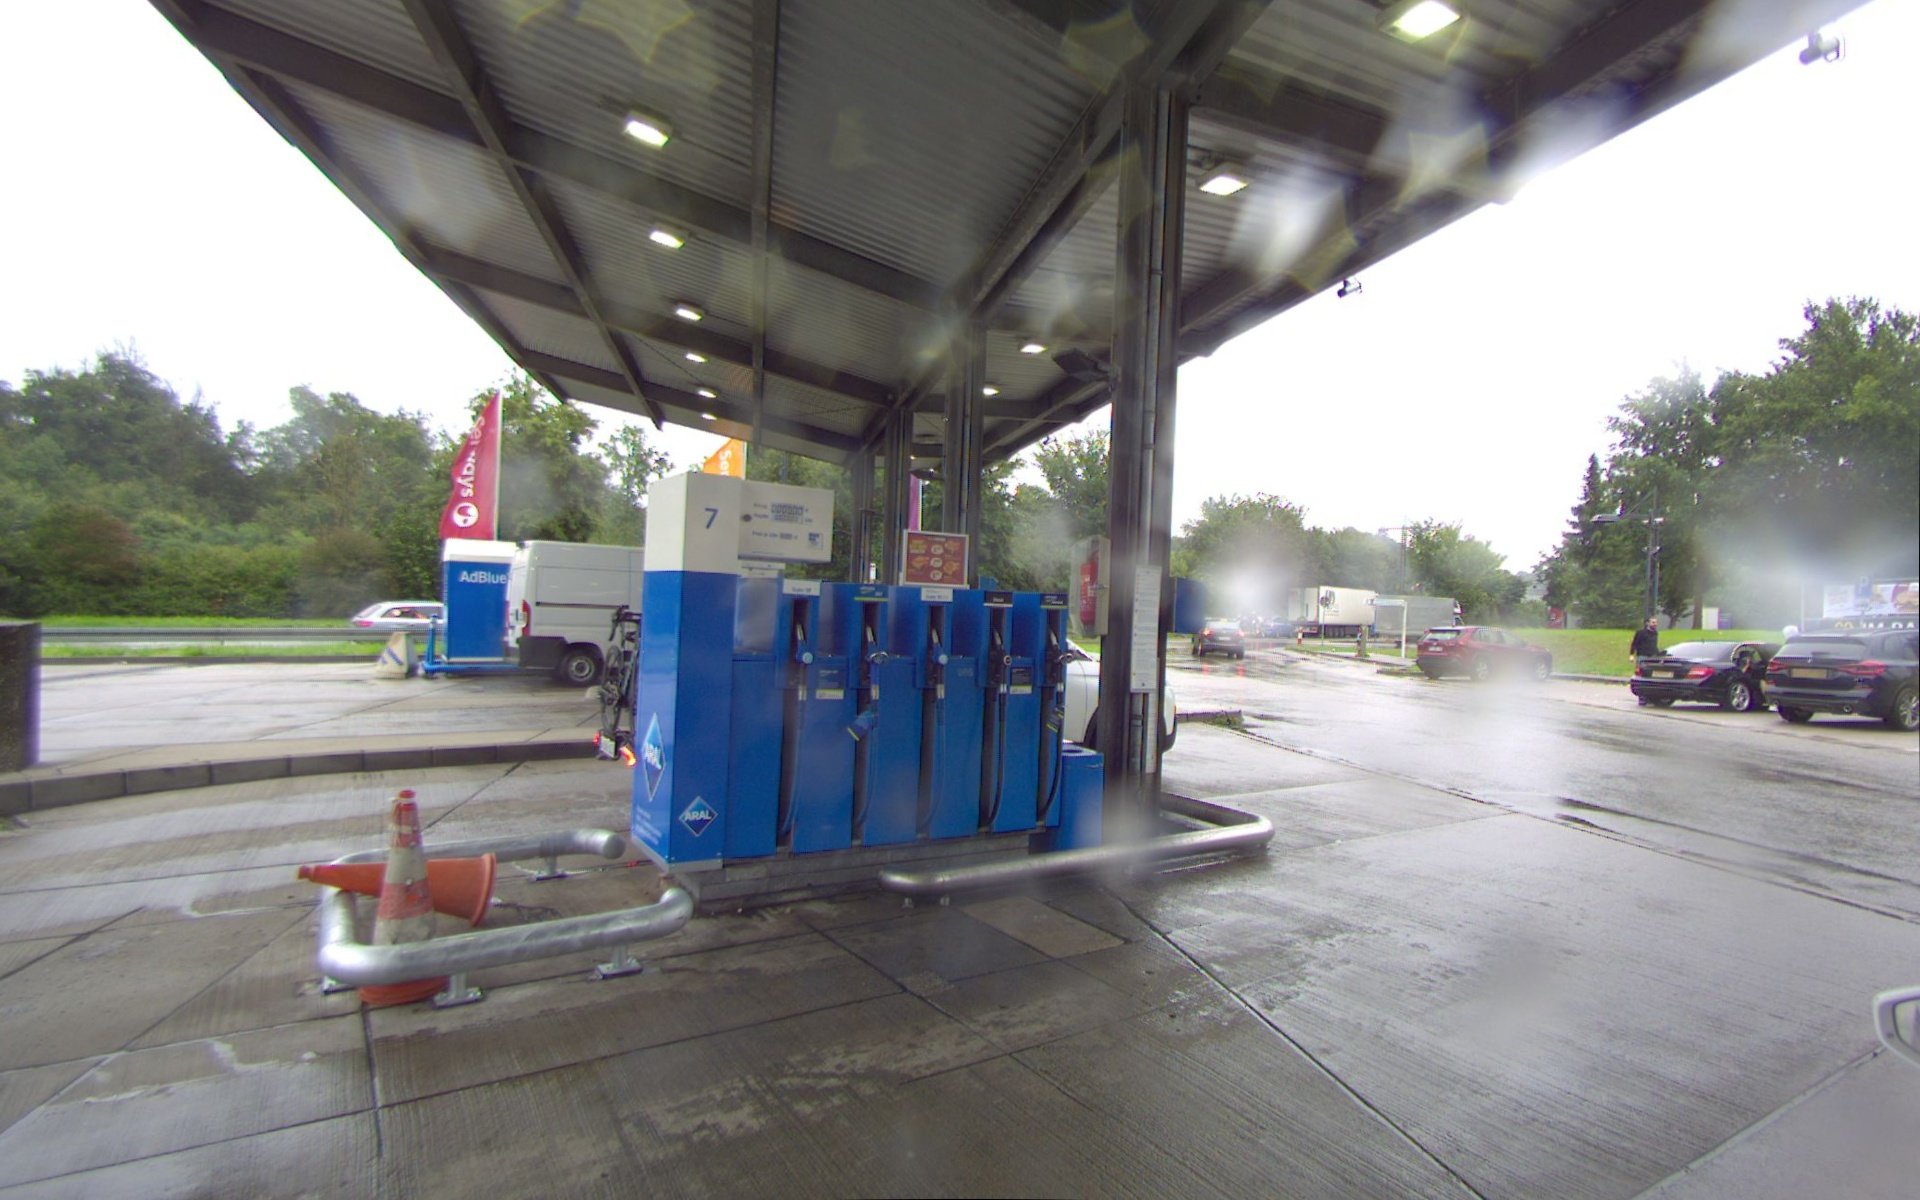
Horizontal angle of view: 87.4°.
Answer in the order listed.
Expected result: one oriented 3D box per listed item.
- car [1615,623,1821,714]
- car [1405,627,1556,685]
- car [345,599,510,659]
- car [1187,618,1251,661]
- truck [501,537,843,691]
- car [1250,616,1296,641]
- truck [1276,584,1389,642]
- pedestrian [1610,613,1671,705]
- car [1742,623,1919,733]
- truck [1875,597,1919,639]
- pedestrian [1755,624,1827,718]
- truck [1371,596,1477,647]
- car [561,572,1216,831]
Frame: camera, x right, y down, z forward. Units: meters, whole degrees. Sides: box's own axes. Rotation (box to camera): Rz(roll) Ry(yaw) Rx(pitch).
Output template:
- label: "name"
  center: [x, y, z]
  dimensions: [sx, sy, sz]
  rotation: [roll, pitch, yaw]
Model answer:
- label: "car"
  center: [15.937, 1.359, 21.082]
  dimensions: [4.293, 1.734, 2.007]
  rotation: [1, -2, -31]
- label: "car"
  center: [16.073, 1.674, 30.993]
  dimensions: [4.283, 1.666, 1.933]
  rotation: [1, -2, -25]
- label: "car"
  center: [-15.660, 0.875, 29.642]
  dimensions: [3.969, 1.650, 1.756]
  rotation: [3, -1, -41]
- label: "car"
  center: [10.914, 1.644, 42.609]
  dimensions: [1.960, 1.700, 4.002]
  rotation: [2, -1, 5]
- label: "truck"
  center: [-5.342, 0.296, 18.933]
  dimensions: [5.793, 2.527, 2.221]
  rotation: [2, 0, -30]
- label: "car"
  center: [22.902, 2.069, 73.428]
  dimensions: [1.787, 1.704, 3.934]
  rotation: [2, 0, 40]
- label: "truck"
  center: [31.878, 1.194, 85.142]
  dimensions: [3.498, 4.397, 16.922]
  rotation: [2, 0, 40]
- label: "pedestrian"
  center: [14.572, 1.246, 21.535]
  dimensions: [0.690, 1.912, 0.894]
  rotation: [2, 0, 6]
- label: "car"
  center: [16.168, 1.273, 17.459]
  dimensions: [4.274, 1.734, 2.016]
  rotation: [1, -1, -18]
- label: "truck"
  center: [68.852, 1.327, 71.689]
  dimensions: [5.285, 2.959, 2.191]
  rotation: [2, 0, -5]
- label: "pedestrian"
  center: [15.336, 1.294, 18.567]
  dimensions: [0.938, 1.653, 0.701]
  rotation: [2, 0, 36]
- label: "truck"
  center: [30.752, 1.447, 66.564]
  dimensions: [7.265, 3.126, 2.467]
  rotation: [2, 0, -28]
- label: "car"
  center: [-0.431, 0.703, 8.451]
  dimensions: [5.210, 1.629, 1.852]
  rotation: [2, 0, -30]
